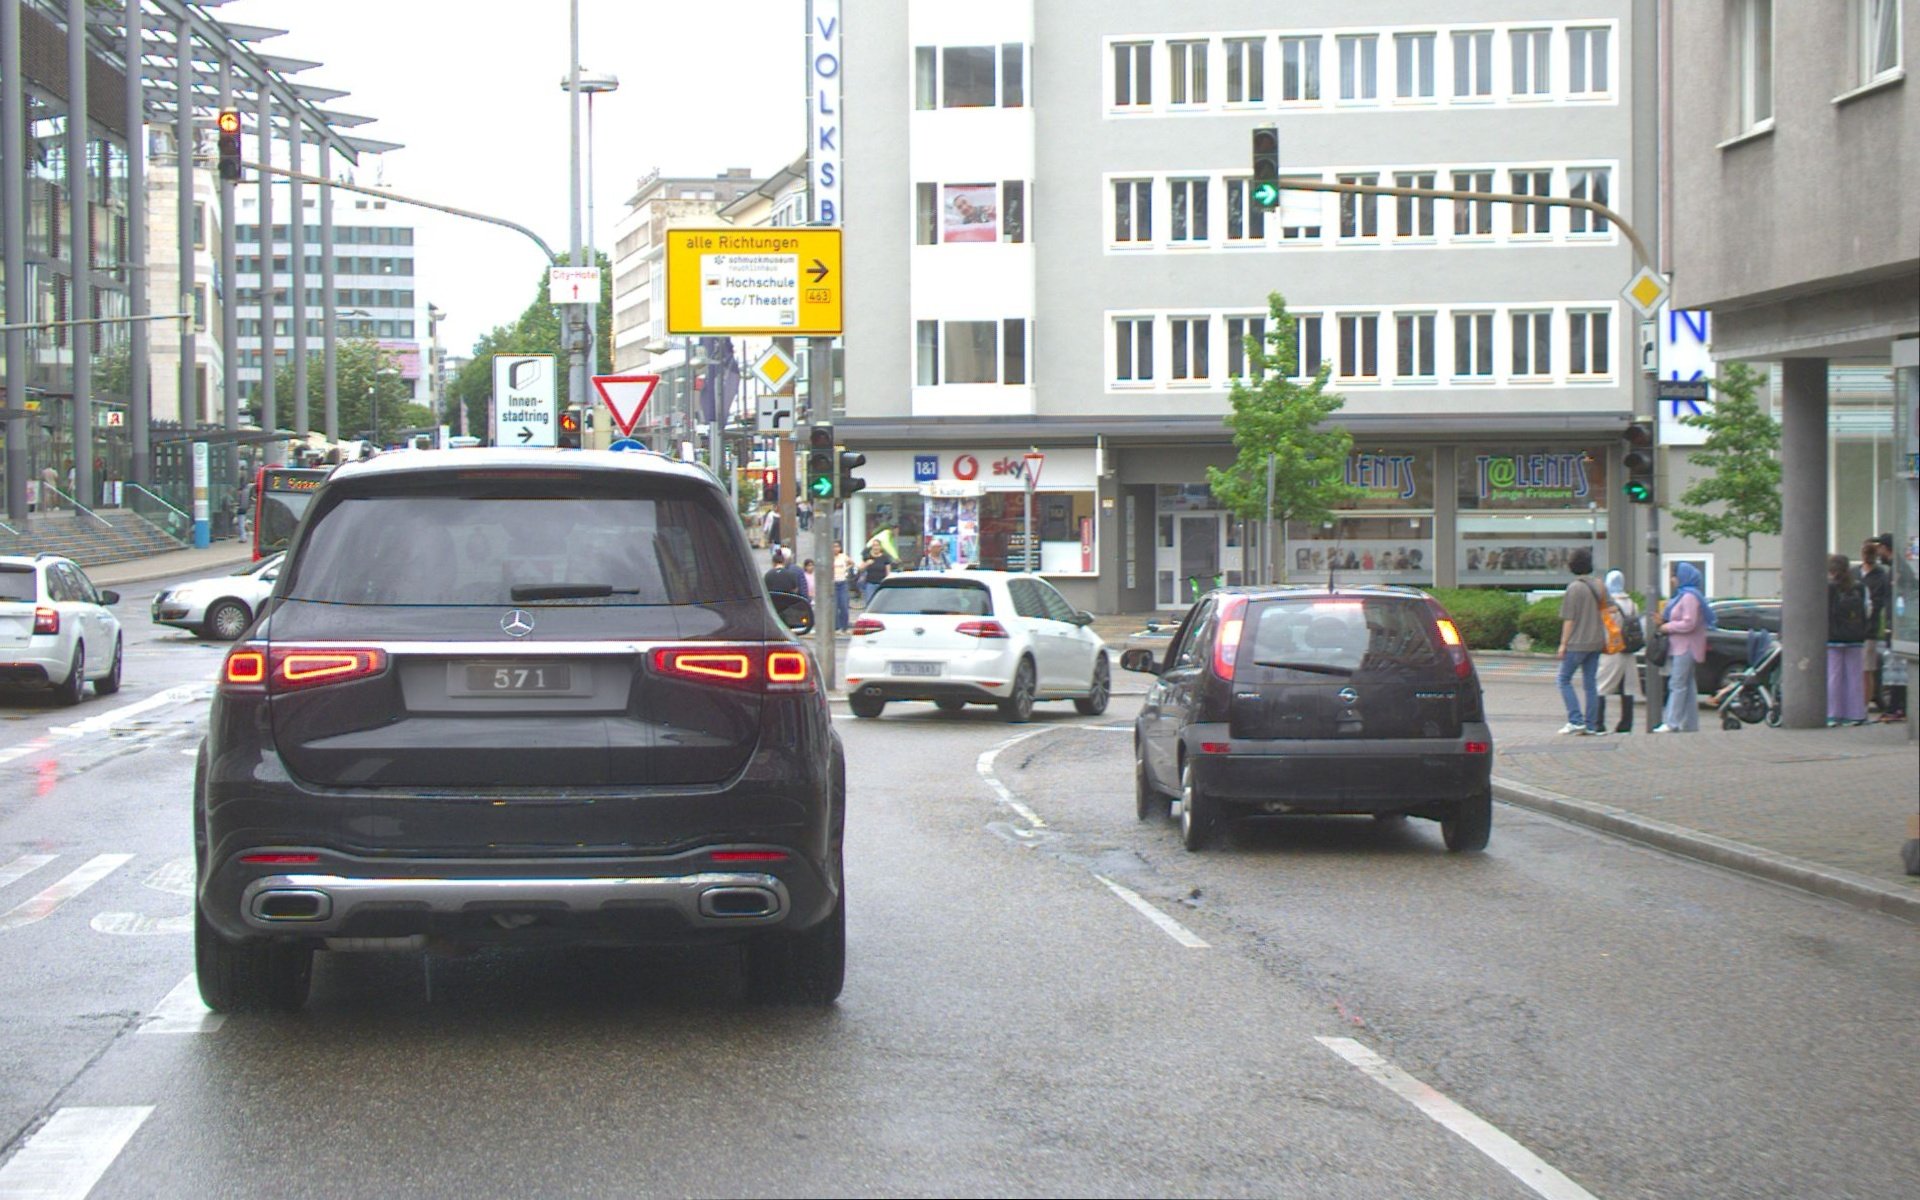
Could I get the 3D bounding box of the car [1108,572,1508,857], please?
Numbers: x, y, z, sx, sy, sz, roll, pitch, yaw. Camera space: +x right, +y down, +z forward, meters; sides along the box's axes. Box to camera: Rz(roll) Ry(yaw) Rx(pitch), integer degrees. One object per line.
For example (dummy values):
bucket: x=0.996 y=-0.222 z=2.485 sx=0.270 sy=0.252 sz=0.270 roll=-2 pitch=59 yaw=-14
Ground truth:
car: x=1.862 y=0.583 z=19.446 sx=1.717 sy=1.415 sz=3.770 roll=2 pitch=0 yaw=-2

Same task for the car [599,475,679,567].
car: x=-10.869 y=-2.661 z=116.121 sx=2.444 sy=2.947 sz=6.155 roll=2 pitch=1 yaw=-7

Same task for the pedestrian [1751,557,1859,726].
pedestrian: x=8.696 y=0.422 z=35.423 sx=1.036 sy=1.717 sz=0.838 roll=-1 pitch=0 yaw=12

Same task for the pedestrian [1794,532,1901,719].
pedestrian: x=8.280 y=0.245 z=32.094 sx=0.835 sy=1.717 sz=0.617 roll=-1 pitch=-2 yaw=4

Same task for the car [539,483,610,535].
car: x=-14.089 y=-3.321 z=125.888 sx=2.422 sy=1.774 sz=5.155 roll=2 pitch=1 yaw=-5

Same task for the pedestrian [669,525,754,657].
pedestrian: x=-3.255 y=-0.124 z=45.061 sx=0.978 sy=1.666 sz=0.915 roll=2 pitch=1 yaw=1

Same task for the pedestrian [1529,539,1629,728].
pedestrian: x=5.605 y=0.306 z=31.092 sx=0.627 sy=1.686 sz=0.781 roll=-1 pitch=-1 yaw=31

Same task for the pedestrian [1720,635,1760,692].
pedestrian: x=8.083 y=0.659 z=35.617 sx=0.371 sy=0.569 sz=0.458 roll=-1 pitch=0 yaw=15

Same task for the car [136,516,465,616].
car: x=-10.257 y=-0.532 z=53.472 sx=4.737 sy=1.441 sz=1.792 roll=1 pitch=1 yaw=-22

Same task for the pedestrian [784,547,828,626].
pedestrian: x=-2.651 y=-0.237 z=59.156 sx=0.630 sy=1.335 sz=0.588 roll=2 pitch=1 yaw=-10

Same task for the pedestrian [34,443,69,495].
pedestrian: x=-30.476 y=-4.385 z=115.350 sx=1.038 sy=1.707 sz=1.008 roll=1 pitch=1 yaw=-10

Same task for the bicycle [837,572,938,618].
bicycle: x=-1.610 y=-0.117 z=76.441 sx=2.138 sy=0.989 sz=0.694 roll=1 pitch=1 yaw=10

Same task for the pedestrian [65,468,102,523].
pedestrian: x=-27.803 y=-3.296 z=109.036 sx=1.038 sy=1.707 sz=1.008 roll=1 pitch=1 yaw=-10

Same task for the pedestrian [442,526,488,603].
pedestrian: x=-12.456 y=-0.894 z=86.449 sx=0.954 sy=1.880 sz=0.810 roll=2 pitch=1 yaw=2

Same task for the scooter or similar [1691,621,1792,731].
scooter or similar: x=8.093 y=0.783 z=35.586 sx=0.970 sy=1.105 sz=0.654 roll=-1 pitch=0 yaw=15

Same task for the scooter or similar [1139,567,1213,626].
scooter or similar: x=4.341 y=-0.075 z=69.092 sx=1.381 sy=1.183 sz=0.543 roll=1 pitch=1 yaw=15

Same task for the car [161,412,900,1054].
car: x=-1.550 y=0.305 z=12.196 sx=2.087 sy=1.810 sz=4.794 roll=0 pitch=2 yaw=-8

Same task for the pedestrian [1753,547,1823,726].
pedestrian: x=8.879 y=0.405 z=36.870 sx=0.616 sy=1.861 sz=0.786 roll=-3 pitch=-4 yaw=11

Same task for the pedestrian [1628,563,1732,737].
pedestrian: x=6.936 y=0.489 z=33.102 sx=0.744 sy=1.630 sz=0.595 roll=-4 pitch=-4 yaw=37

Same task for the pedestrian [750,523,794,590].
pedestrian: x=-5.121 y=-1.181 z=93.591 sx=1.022 sy=1.769 sz=0.800 roll=2 pitch=1 yaw=-10

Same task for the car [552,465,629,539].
car: x=-17.974 y=-4.737 z=167.529 sx=2.445 sy=3.453 sz=6.152 roll=2 pitch=1 yaw=5

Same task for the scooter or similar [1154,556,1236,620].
scooter or similar: x=4.839 y=-0.238 z=70.863 sx=1.498 sy=1.252 sz=0.930 roll=2 pitch=-1 yaw=15

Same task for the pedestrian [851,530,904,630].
pedestrian: x=-1.416 y=-0.356 z=59.166 sx=0.781 sy=1.683 sz=0.639 roll=2 pitch=1 yaw=4

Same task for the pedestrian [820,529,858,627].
pedestrian: x=-2.081 y=-0.376 z=59.139 sx=0.569 sy=1.663 sz=0.501 roll=1 pitch=1 yaw=2

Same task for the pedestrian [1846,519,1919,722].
pedestrian: x=8.993 y=0.195 z=32.963 sx=0.818 sy=1.925 sz=0.732 roll=0 pitch=-1 yaw=4

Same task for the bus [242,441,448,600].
bus: x=-14.470 y=-1.851 z=82.424 sx=2.920 sy=3.309 sz=18.482 roll=1 pitch=1 yaw=-4

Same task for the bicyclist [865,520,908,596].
bicyclist: x=-1.627 y=-0.935 z=76.429 sx=0.844 sy=1.698 sz=0.623 roll=0 pitch=1 yaw=10

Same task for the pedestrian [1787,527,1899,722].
pedestrian: x=8.651 y=0.251 z=33.713 sx=0.835 sy=1.859 sz=0.658 roll=-2 pitch=-3 yaw=0

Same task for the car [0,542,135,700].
car: x=-9.446 y=0.153 z=34.125 sx=1.792 sy=1.411 sz=4.632 roll=1 pitch=1 yaw=-5

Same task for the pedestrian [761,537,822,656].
pedestrian: x=-2.254 y=-0.047 z=46.097 sx=0.713 sy=1.563 sz=0.855 roll=2 pitch=0 yaw=0

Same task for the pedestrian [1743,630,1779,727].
pedestrian: x=8.408 y=0.823 z=36.083 sx=0.261 sy=0.996 sz=0.471 roll=-4 pitch=-1 yaw=18

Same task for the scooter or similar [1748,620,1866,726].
scooter or similar: x=8.103 y=0.708 z=32.936 sx=0.770 sy=0.983 sz=1.048 roll=-1 pitch=-2 yaw=-5

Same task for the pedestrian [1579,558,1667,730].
pedestrian: x=6.509 y=0.440 z=33.784 sx=0.539 sy=1.632 sz=0.838 roll=-3 pitch=-3 yaw=-5

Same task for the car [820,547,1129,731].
car: x=0.215 y=0.333 z=34.298 sx=1.951 sy=1.568 sz=3.997 roll=3 pitch=3 yaw=17

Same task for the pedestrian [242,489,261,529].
pedestrian: x=-23.933 y=-3.062 z=116.137 sx=0.510 sy=1.336 sz=0.420 roll=2 pitch=1 yaw=0

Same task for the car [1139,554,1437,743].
car: x=3.281 y=0.415 z=33.687 sx=1.952 sy=1.568 sz=3.996 roll=3 pitch=3 yaw=19

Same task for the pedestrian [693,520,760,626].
pedestrian: x=-4.040 y=-0.475 z=59.438 sx=1.009 sy=1.781 sz=0.853 roll=2 pitch=1 yaw=-11

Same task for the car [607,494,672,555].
car: x=-10.237 y=-2.414 z=109.592 sx=1.860 sy=1.820 sz=4.105 roll=2 pitch=1 yaw=-7

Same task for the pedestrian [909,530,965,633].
pedestrian: x=-0.407 y=-0.331 z=60.385 sx=0.829 sy=1.772 sz=0.618 roll=2 pitch=1 yaw=-10
